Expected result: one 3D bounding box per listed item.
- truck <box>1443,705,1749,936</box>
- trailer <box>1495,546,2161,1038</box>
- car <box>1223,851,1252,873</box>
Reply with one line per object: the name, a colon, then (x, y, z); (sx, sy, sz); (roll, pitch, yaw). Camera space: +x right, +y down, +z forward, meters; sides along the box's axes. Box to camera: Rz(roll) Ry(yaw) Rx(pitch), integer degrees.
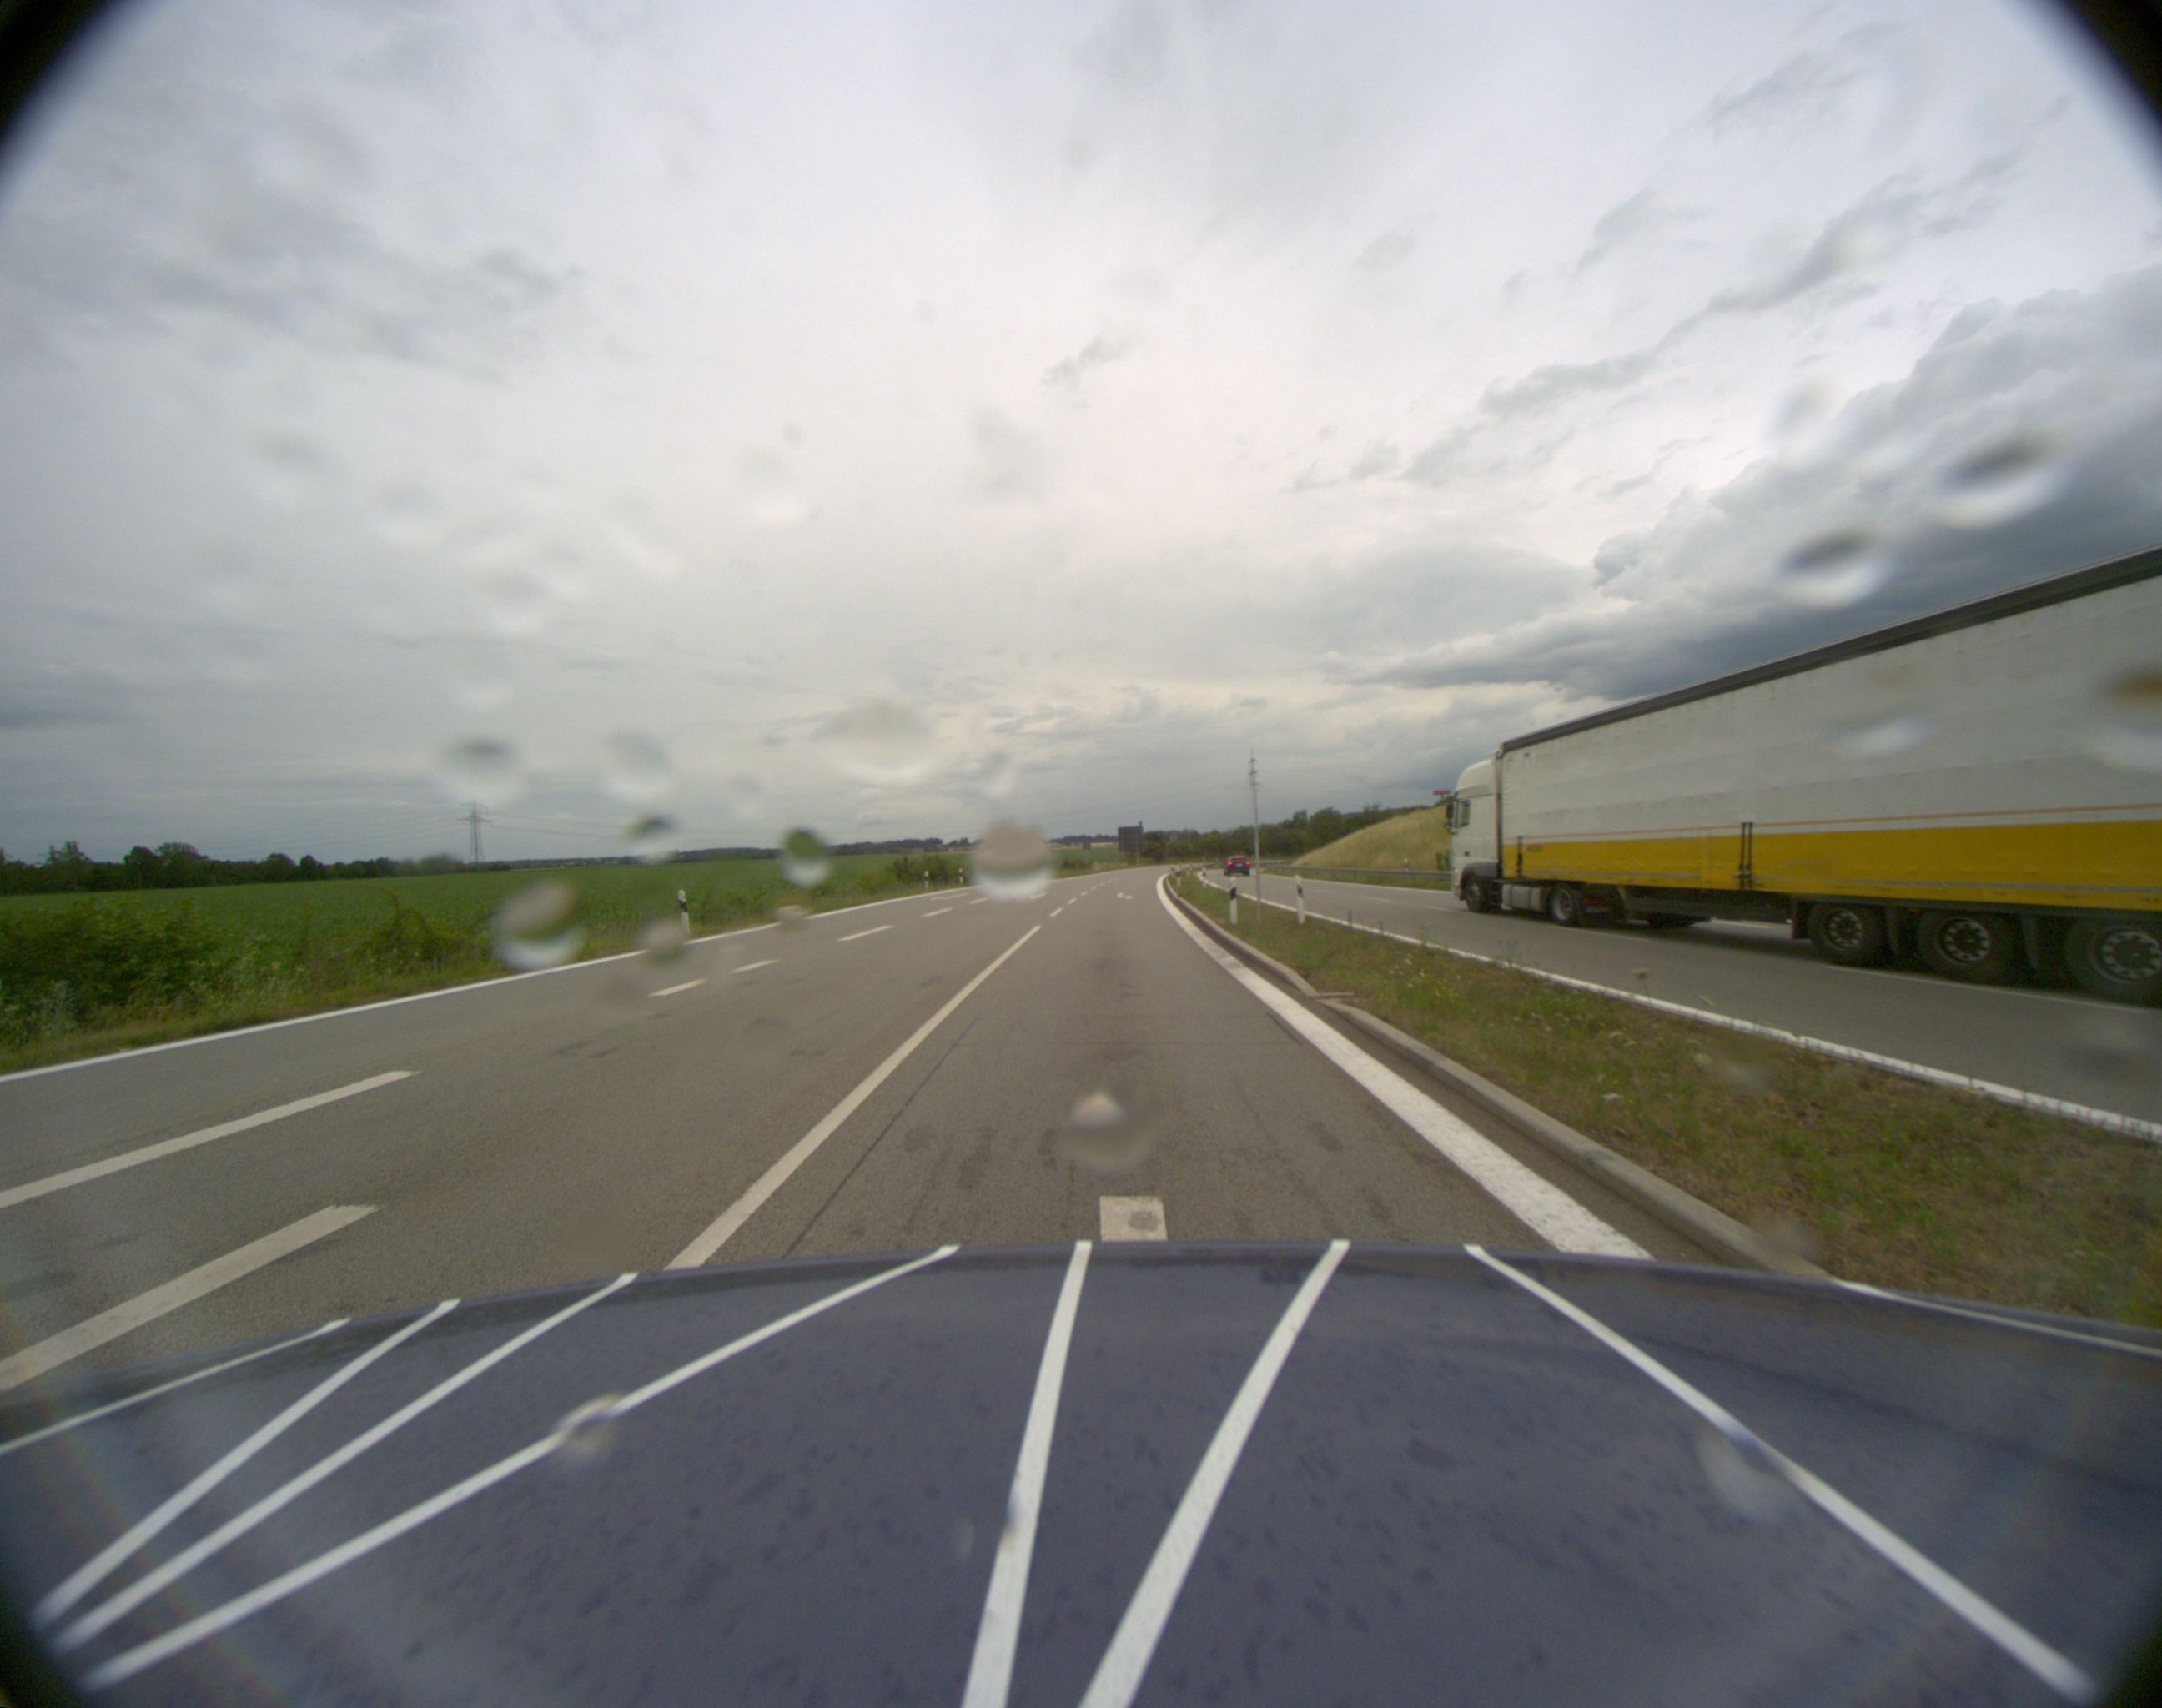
truck: (10.936, -0.642, 17.090); (2.656, 4.117, 6.403); (-2, 1, 2)
trailer: (10.707, -0.613, 10.577); (2.698, 4.186, 13.841); (-2, 1, 2)
car: (12.810, 0.633, 62.454); (1.997, 1.674, 4.115); (-2, 1, 8)
